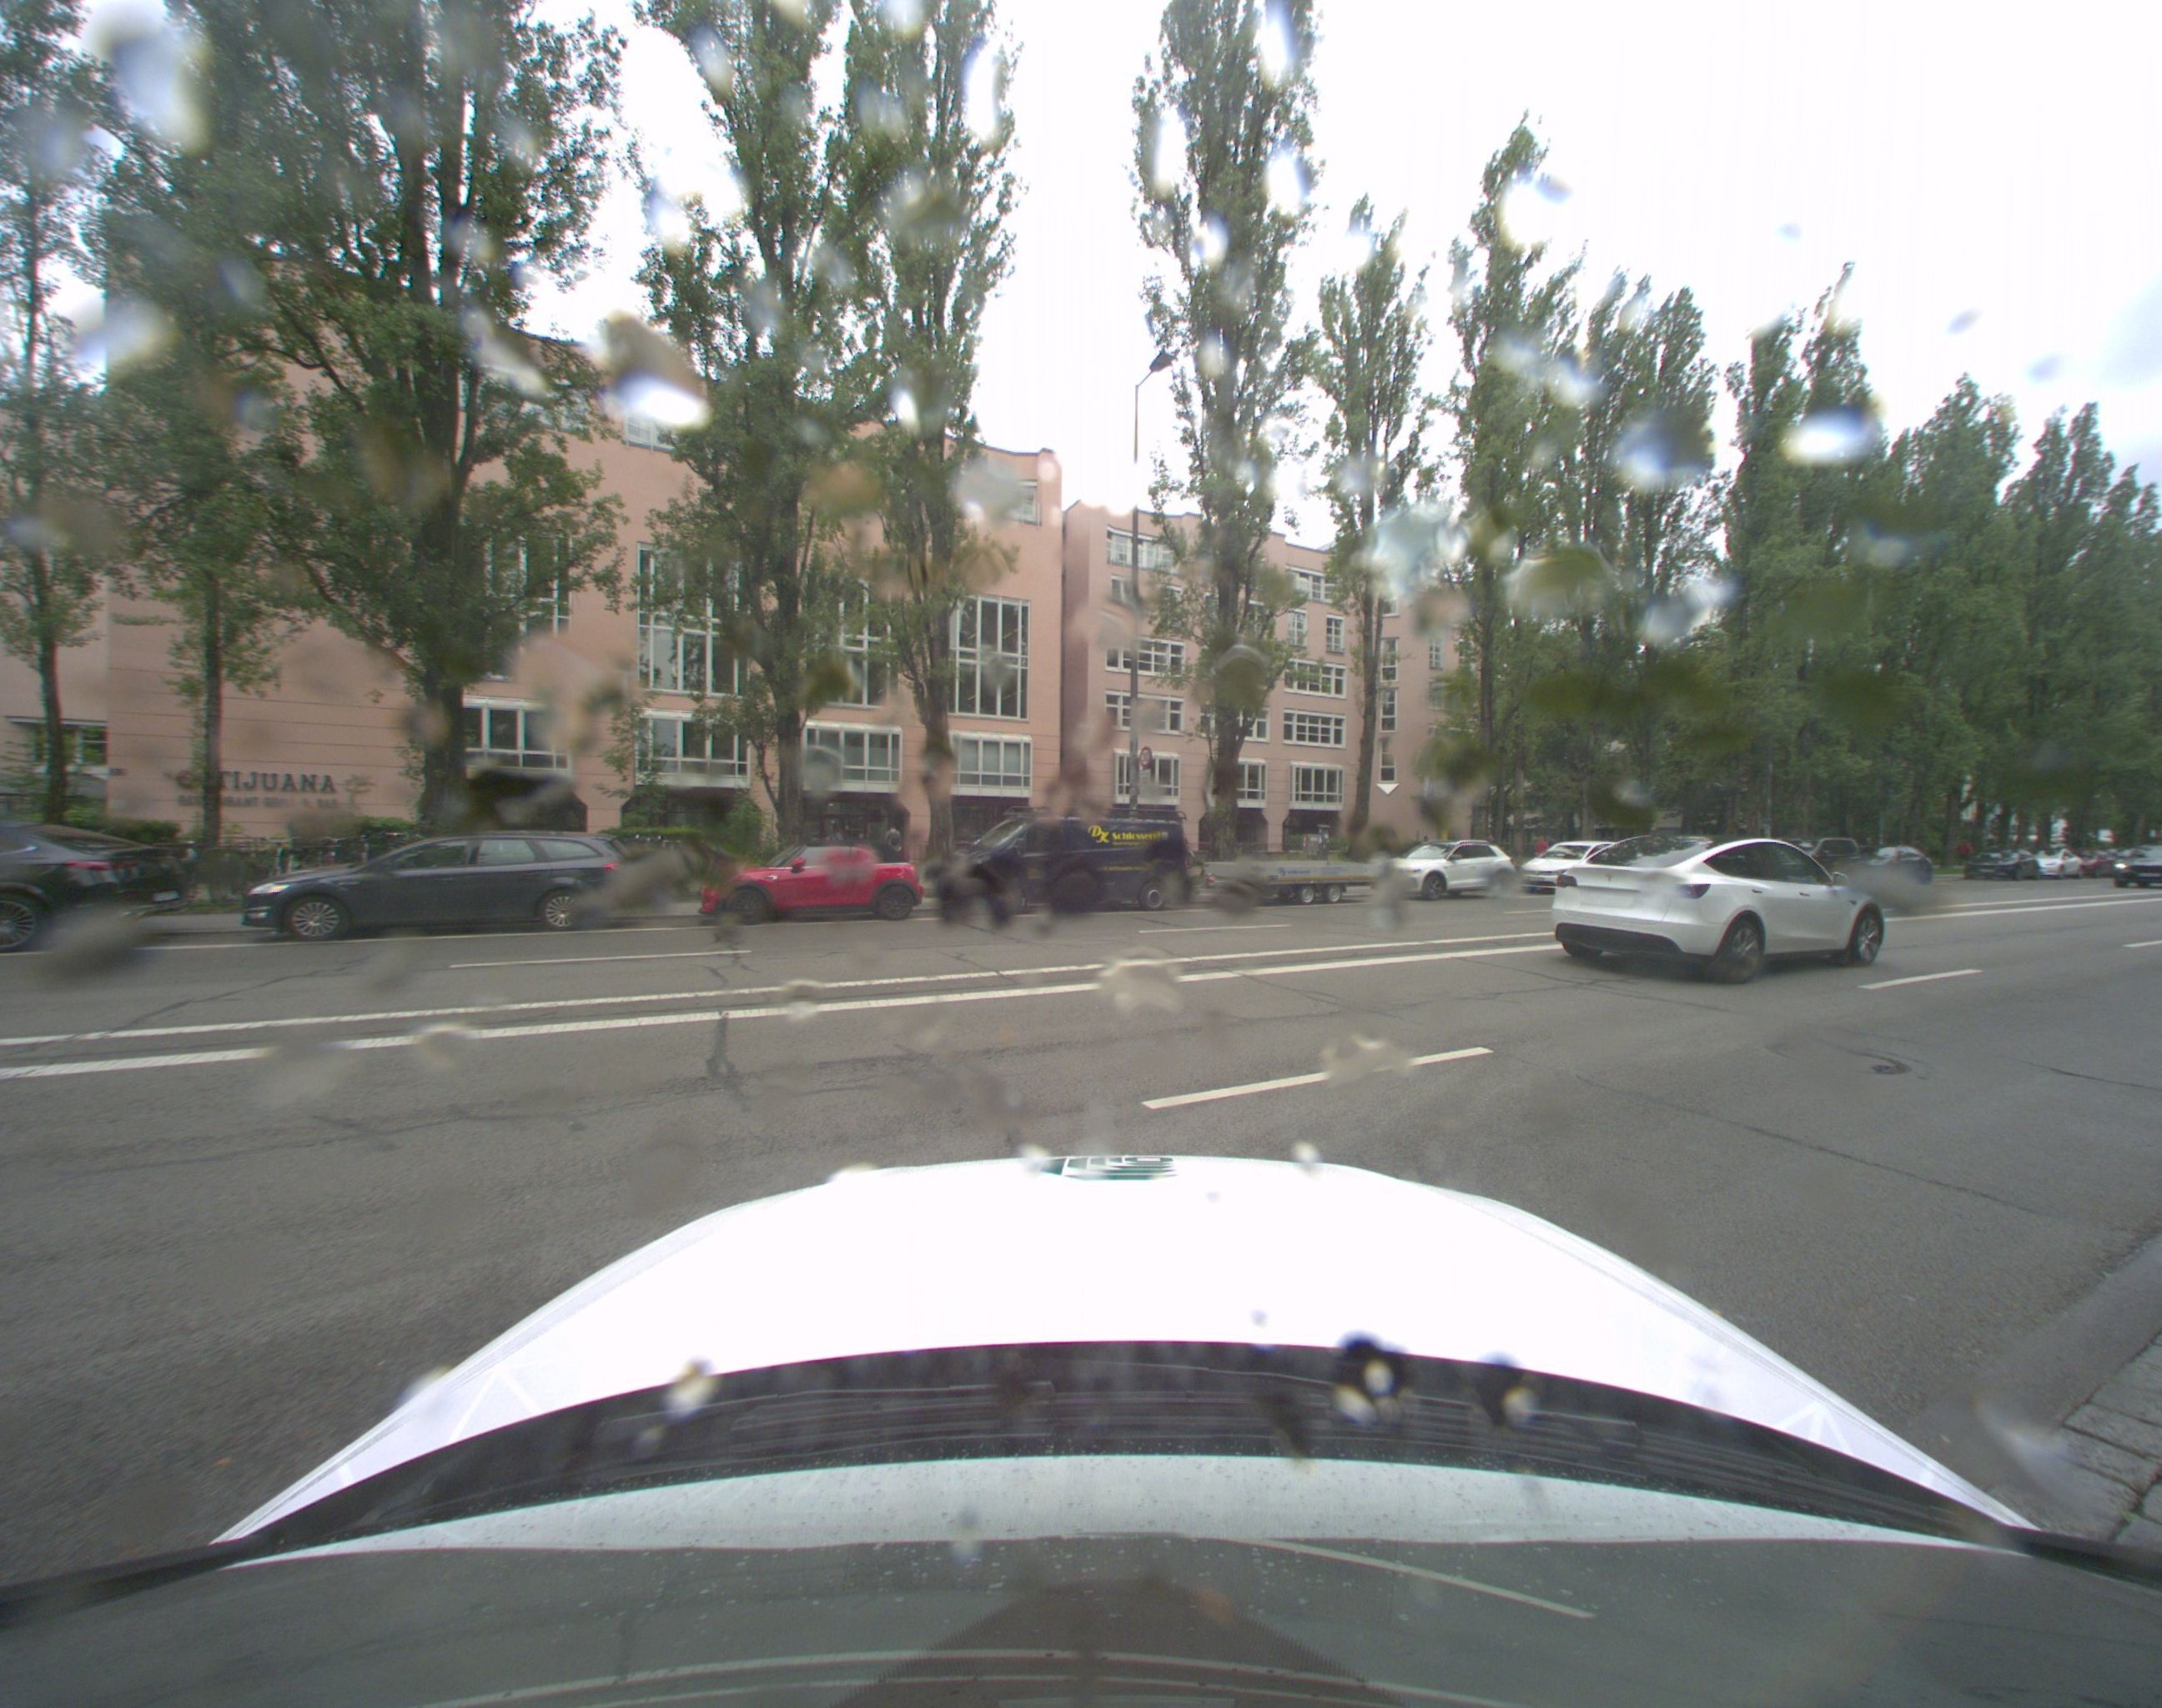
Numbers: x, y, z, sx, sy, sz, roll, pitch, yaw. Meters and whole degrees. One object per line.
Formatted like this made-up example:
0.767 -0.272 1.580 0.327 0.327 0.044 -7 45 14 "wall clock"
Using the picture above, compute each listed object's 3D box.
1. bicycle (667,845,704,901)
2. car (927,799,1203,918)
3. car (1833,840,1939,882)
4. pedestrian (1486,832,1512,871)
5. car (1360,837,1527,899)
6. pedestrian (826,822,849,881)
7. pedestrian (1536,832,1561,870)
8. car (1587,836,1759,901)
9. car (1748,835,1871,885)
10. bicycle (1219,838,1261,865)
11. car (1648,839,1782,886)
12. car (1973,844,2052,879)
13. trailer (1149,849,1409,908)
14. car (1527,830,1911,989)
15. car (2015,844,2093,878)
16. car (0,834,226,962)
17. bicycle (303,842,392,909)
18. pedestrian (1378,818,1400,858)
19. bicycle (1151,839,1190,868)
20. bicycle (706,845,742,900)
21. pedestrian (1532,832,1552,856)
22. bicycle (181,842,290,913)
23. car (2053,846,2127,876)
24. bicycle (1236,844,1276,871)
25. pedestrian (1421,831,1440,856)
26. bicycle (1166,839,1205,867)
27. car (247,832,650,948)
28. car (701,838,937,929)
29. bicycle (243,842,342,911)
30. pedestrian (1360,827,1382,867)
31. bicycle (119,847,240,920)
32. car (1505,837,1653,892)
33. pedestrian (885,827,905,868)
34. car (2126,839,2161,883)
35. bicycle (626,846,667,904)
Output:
-8.578 0.378 17.700 0.677 1.124 1.727 0 2 -25 "bicycle"
-0.283 0.039 17.218 5.508 2.197 2.007 0 2 -26 "car"
33.605 0.257 33.975 4.364 1.606 1.982 0 2 -29 "car"
18.657 -0.122 36.359 0.733 1.713 0.703 0 1 -26 "pedestrian"
9.766 0.329 21.930 4.240 1.542 1.792 -1 1 -25 "car"
-6.959 -0.082 23.285 0.559 1.663 0.616 0 1 -22 "pedestrian"
21.767 -0.148 37.923 0.733 1.713 0.703 0 1 -26 "pedestrian"
16.344 0.327 22.469 4.560 1.642 1.983 -1 1 -26 "car"
28.331 0.186 31.650 4.772 1.797 1.983 0 2 -27 "car"
6.856 -0.132 35.302 0.677 1.124 2.089 0 2 -25 "bicycle"
22.315 0.260 28.654 4.332 1.541 1.984 0 2 -26 "car"
45.832 0.326 40.063 3.622 1.578 1.930 -2 2 -31 "car"
4.859 0.502 19.839 6.050 1.199 2.385 0 2 -26 "trailer"
8.042 0.525 10.226 4.648 1.575 1.983 0 3 -27 "car"
50.952 0.334 42.649 3.980 1.578 1.752 -2 2 -27 "car"
-14.247 0.516 10.180 4.523 1.528 1.778 0 2 -27 "car"
-13.547 0.350 15.108 0.677 1.124 1.973 0 2 -25 "bicycle"
12.638 -0.662 33.391 0.656 1.604 0.558 0 1 -6 "pedestrian"
3.751 -0.042 34.241 0.677 1.124 1.973 0 2 -25 "bicycle"
-7.914 0.385 18.026 0.677 1.124 1.715 0 2 -25 "bicycle"
32.187 -0.709 56.867 0.899 1.661 0.810 0 1 -26 "pedestrian"
-14.943 0.376 14.463 0.677 1.124 1.973 0 2 -25 "bicycle"
56.099 0.373 45.286 3.980 1.578 1.752 0 2 -27 "car"
7.692 0.133 35.902 0.677 1.124 1.973 0 2 -25 "bicycle"
24.302 -0.726 56.565 0.899 1.661 0.810 0 1 -26 "pedestrian"
4.405 -0.053 34.560 0.677 1.124 1.973 0 2 -25 "bicycle"
-9.320 0.444 12.595 4.632 1.528 1.778 0 2 -27 "car"
-4.706 0.463 14.743 3.878 1.448 1.665 0 2 -24 "car"
-14.250 0.368 14.791 0.677 1.124 1.973 0 2 -25 "bicycle"
11.877 -0.286 33.337 0.656 1.604 0.558 0 1 -6 "pedestrian"
-15.561 0.473 14.127 0.677 1.124 1.973 0 2 -25 "bicycle"
15.429 0.270 25.200 4.335 1.541 1.982 0 2 -28 "car"
-7.861 -0.298 34.451 0.710 1.713 0.726 0 1 -23 "pedestrian"
43.499 0.256 32.478 4.779 1.716 1.979 0 0 -35 "car"
-9.249 0.419 17.387 0.677 1.124 1.727 0 2 -25 "bicycle"
